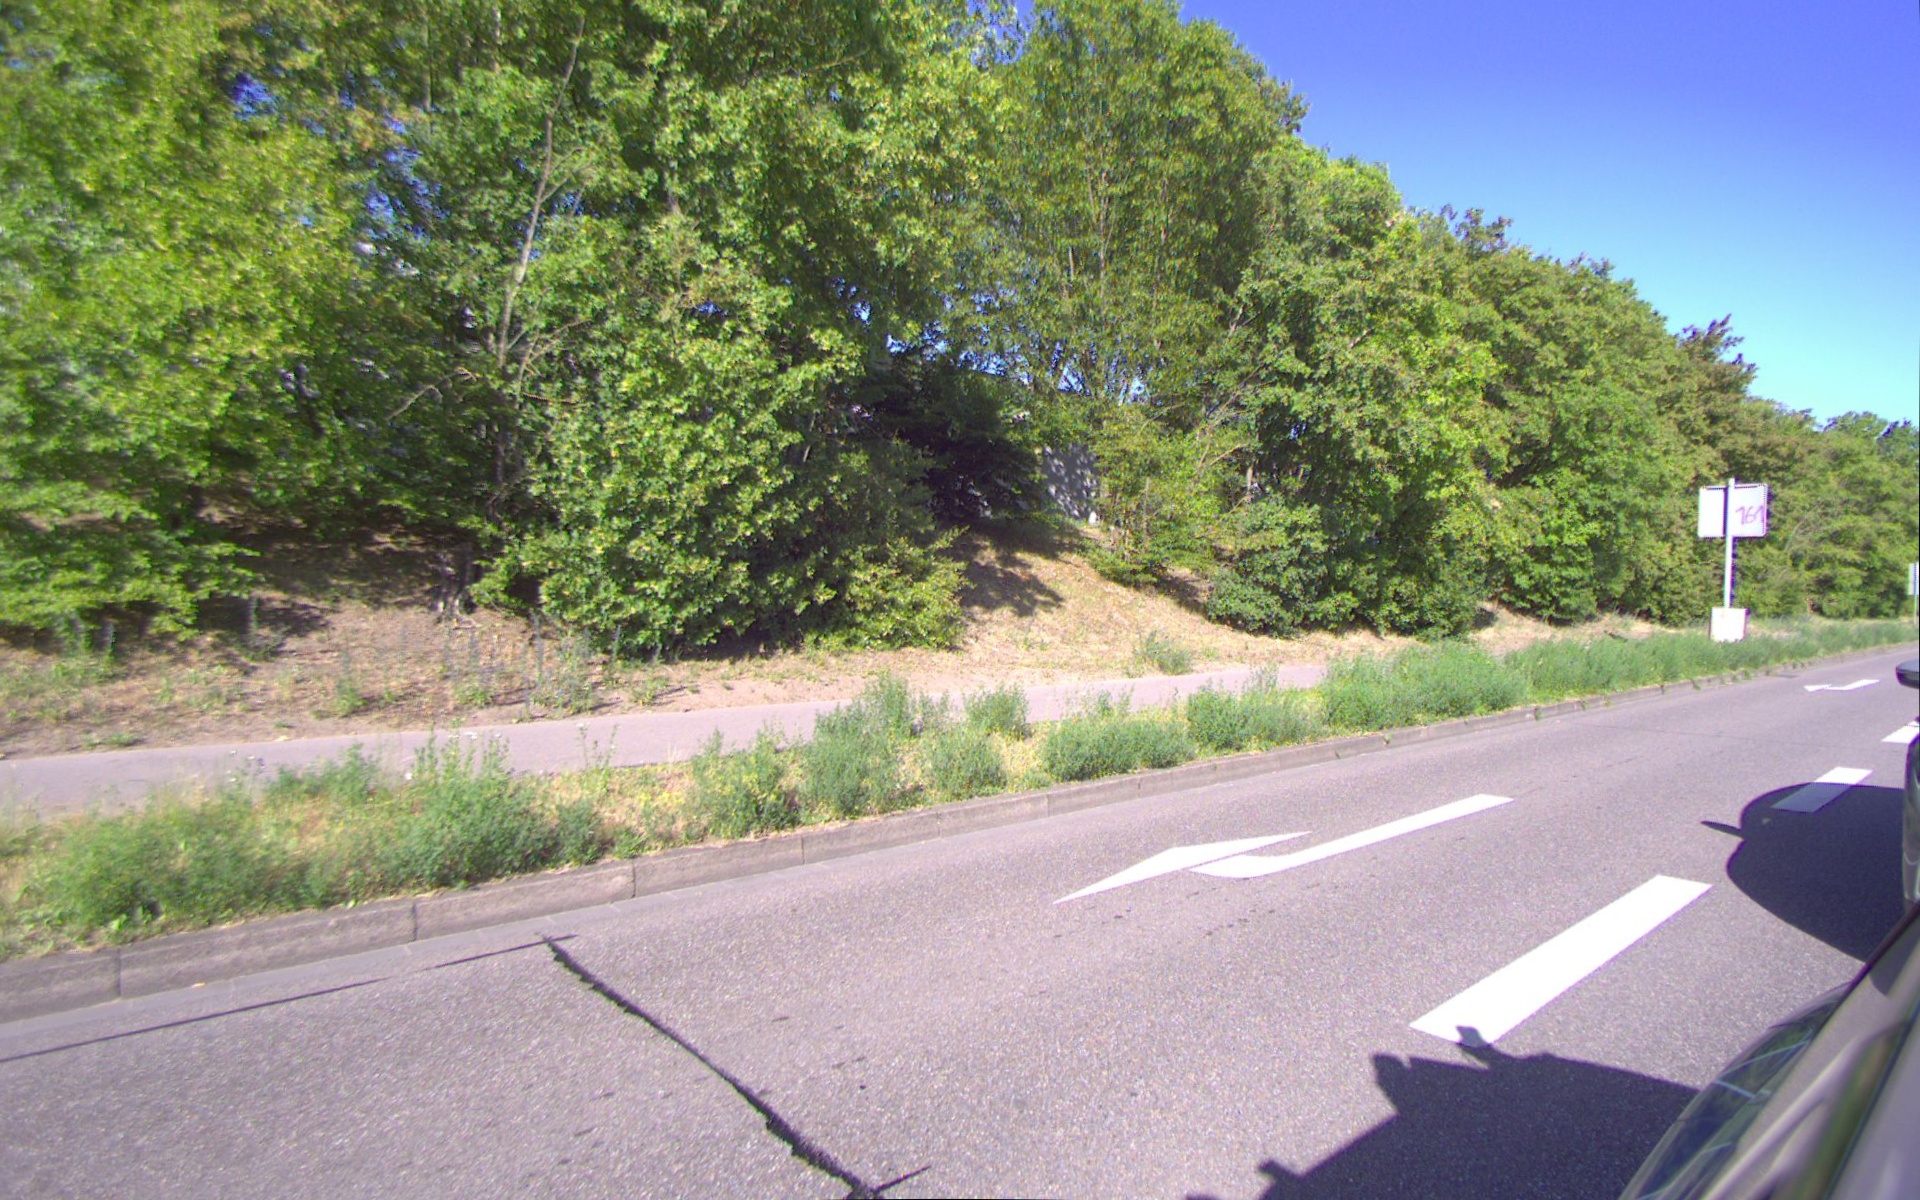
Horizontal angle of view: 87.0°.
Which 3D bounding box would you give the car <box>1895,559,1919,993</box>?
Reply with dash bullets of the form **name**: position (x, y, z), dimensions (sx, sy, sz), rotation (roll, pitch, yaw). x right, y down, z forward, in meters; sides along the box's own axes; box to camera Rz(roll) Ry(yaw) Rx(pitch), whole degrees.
- **car**: position (5.723, 0.652, 4.537), dimensions (4.327, 1.603, 1.860), rotation (0, 0, -42)
